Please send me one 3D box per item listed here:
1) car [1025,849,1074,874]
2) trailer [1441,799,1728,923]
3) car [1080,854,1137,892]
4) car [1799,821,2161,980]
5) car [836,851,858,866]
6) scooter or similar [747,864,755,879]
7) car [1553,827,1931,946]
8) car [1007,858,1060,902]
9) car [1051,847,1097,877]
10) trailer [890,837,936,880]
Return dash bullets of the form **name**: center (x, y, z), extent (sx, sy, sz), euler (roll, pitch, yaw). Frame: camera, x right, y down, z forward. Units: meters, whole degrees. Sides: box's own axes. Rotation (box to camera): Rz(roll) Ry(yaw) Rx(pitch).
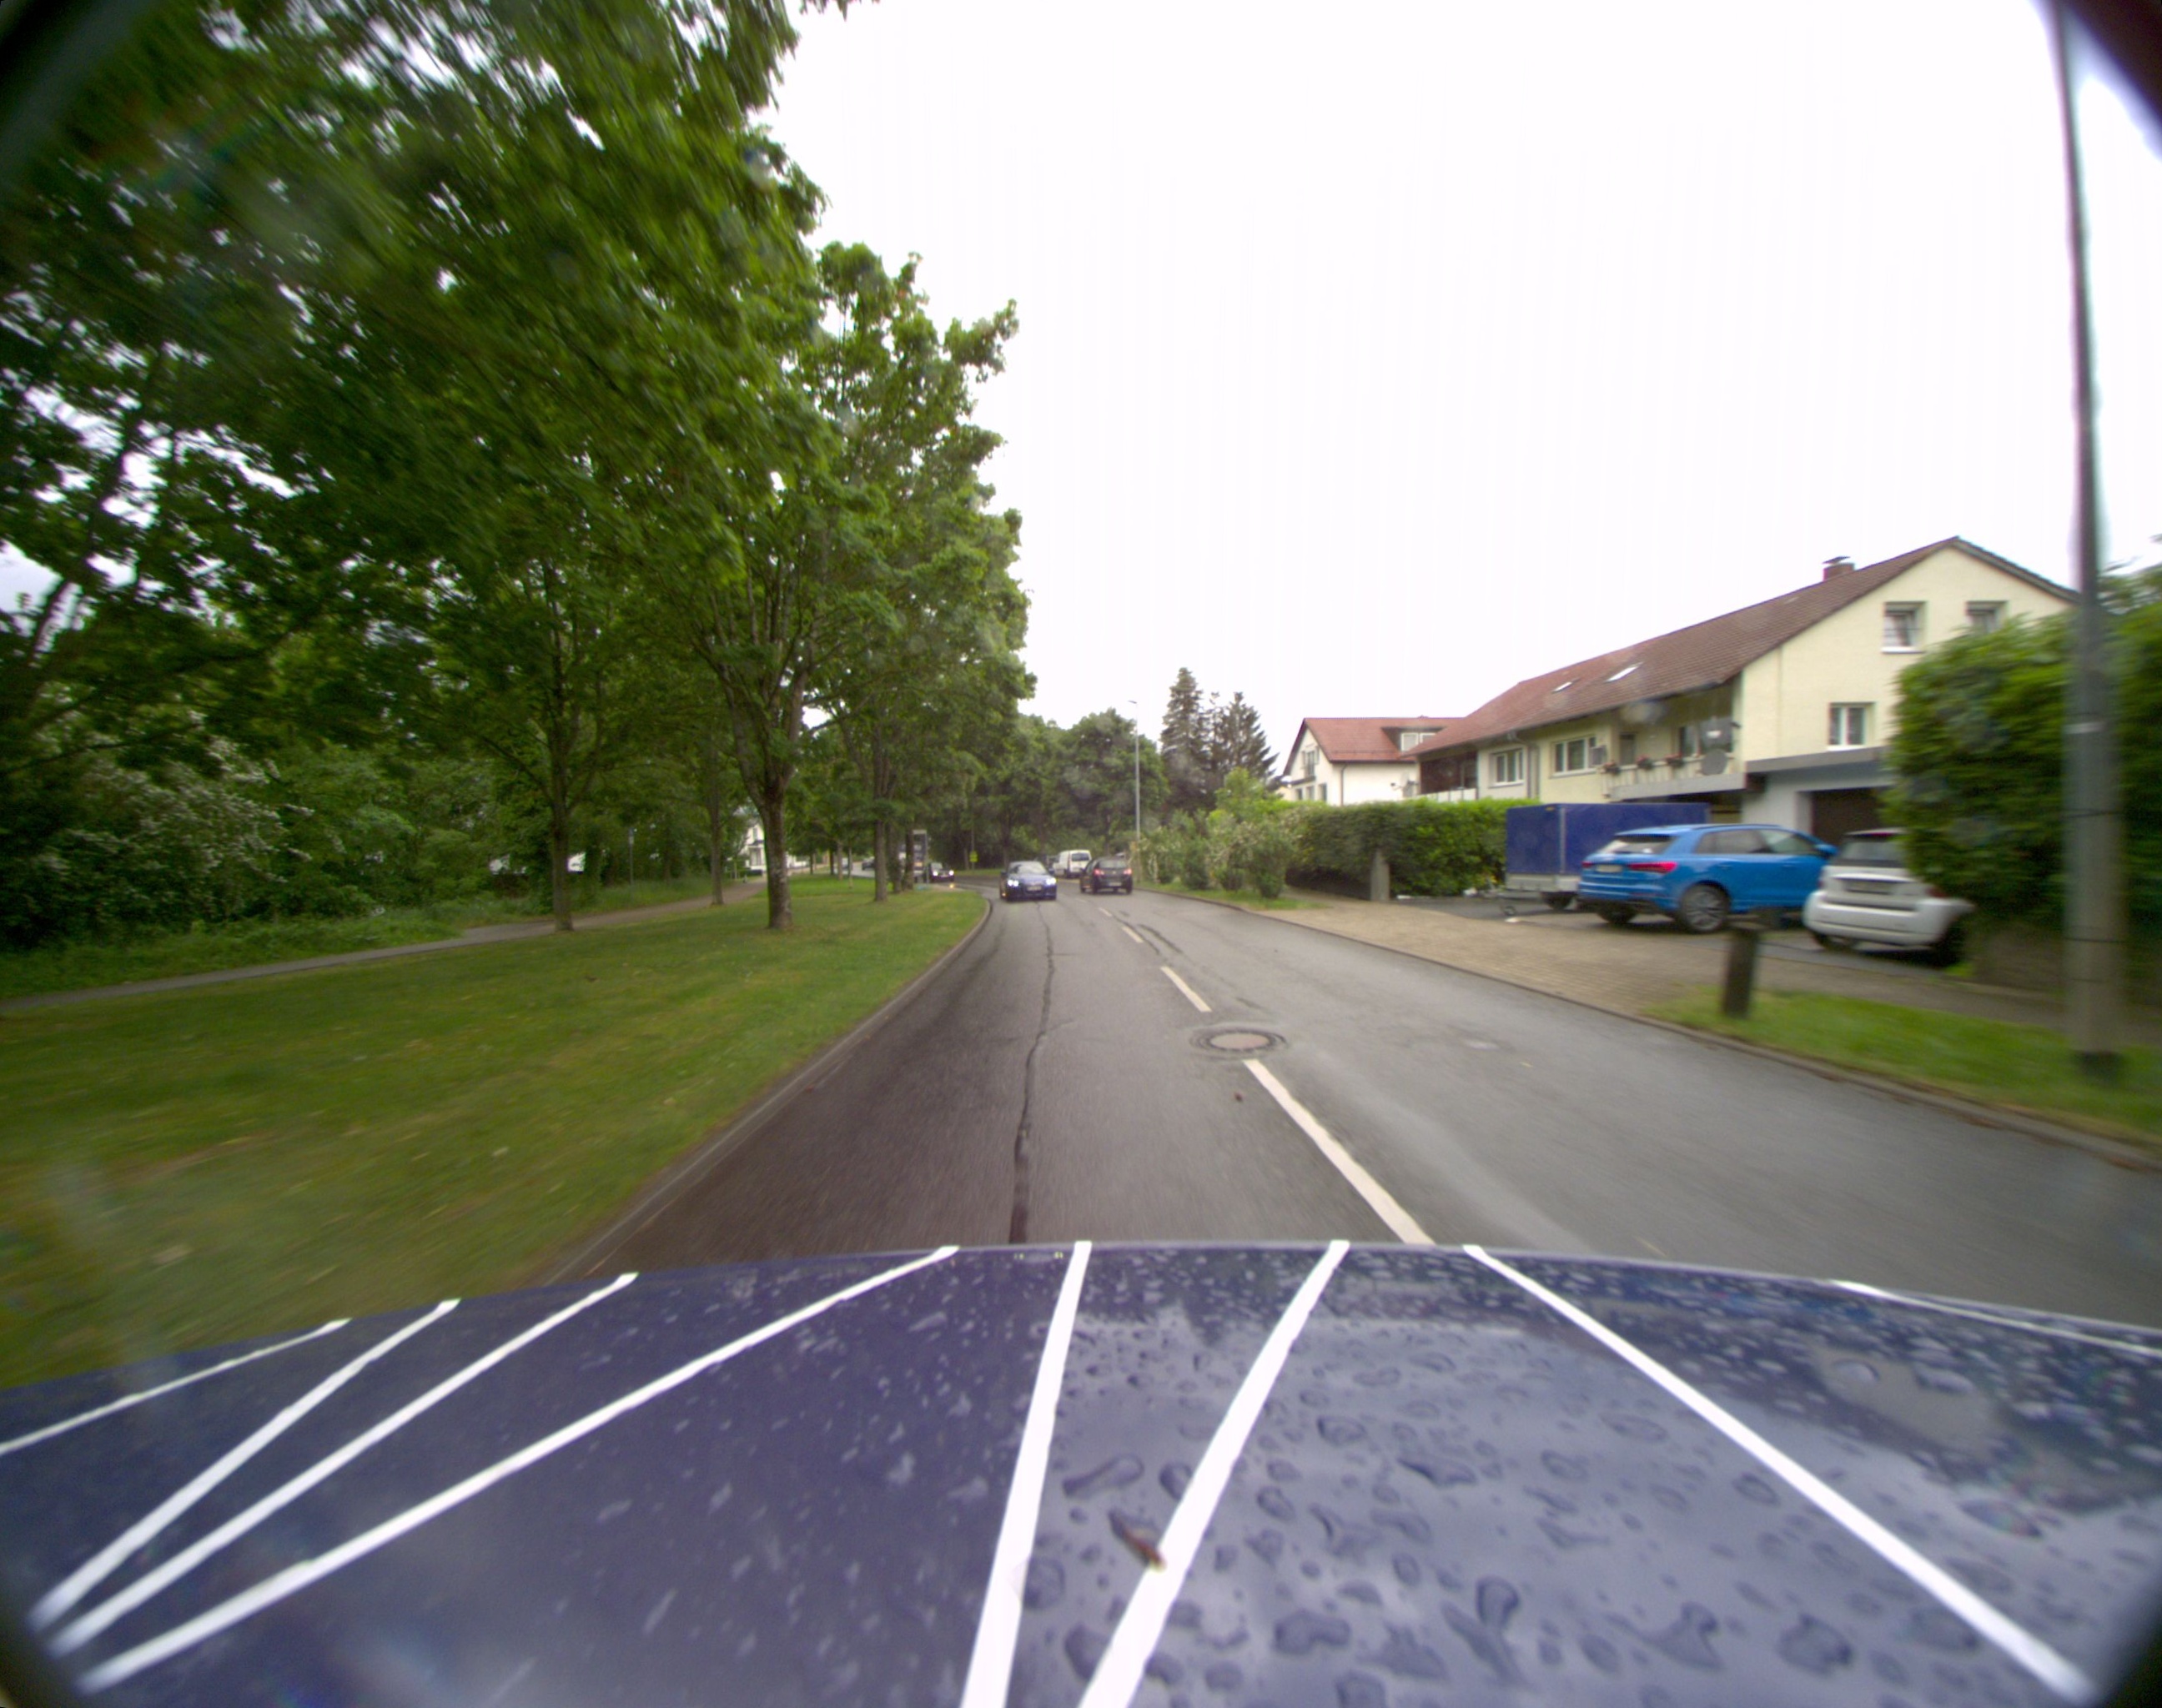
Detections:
- **car**: center (-2.321, 0.496, 54.658), extent (1.757, 1.631, 4.582), euler (-4, 2, -25)
- **trailer**: center (9.987, 0.116, 15.275), extent (4.633, 2.159, 1.814), euler (-2, 1, -4)
- **car**: center (1.081, 0.754, 31.566), extent (1.588, 1.469, 3.892), euler (-1, 0, -10)
- **car**: center (10.703, 0.452, 8.700), extent (3.413, 1.510, 1.730), euler (-2, 1, -4)
- **car**: center (-31.988, 0.634, 103.769), extent (2.002, 1.848, 3.990), euler (-5, 3, -30)
- **scooter or similar**: center (-25.990, 1.348, 59.899), extent (0.465, 1.140, 1.299), euler (0, 0, -19)
- **car**: center (10.143, 0.446, 11.904), extent (4.250, 1.530, 2.051), euler (-2, 1, -4)
- **car**: center (-1.860, 0.938, 29.174), extent (1.816, 1.459, 3.972), euler (-3, 1, -5)
- **car**: center (-0.506, 0.495, 49.752), extent (1.805, 1.785, 4.365), euler (-3, 1, -16)
- **trailer**: center (-11.836, 0.325, 53.277), extent (2.003, 2.791, 5.597), euler (3, -1, -23)
